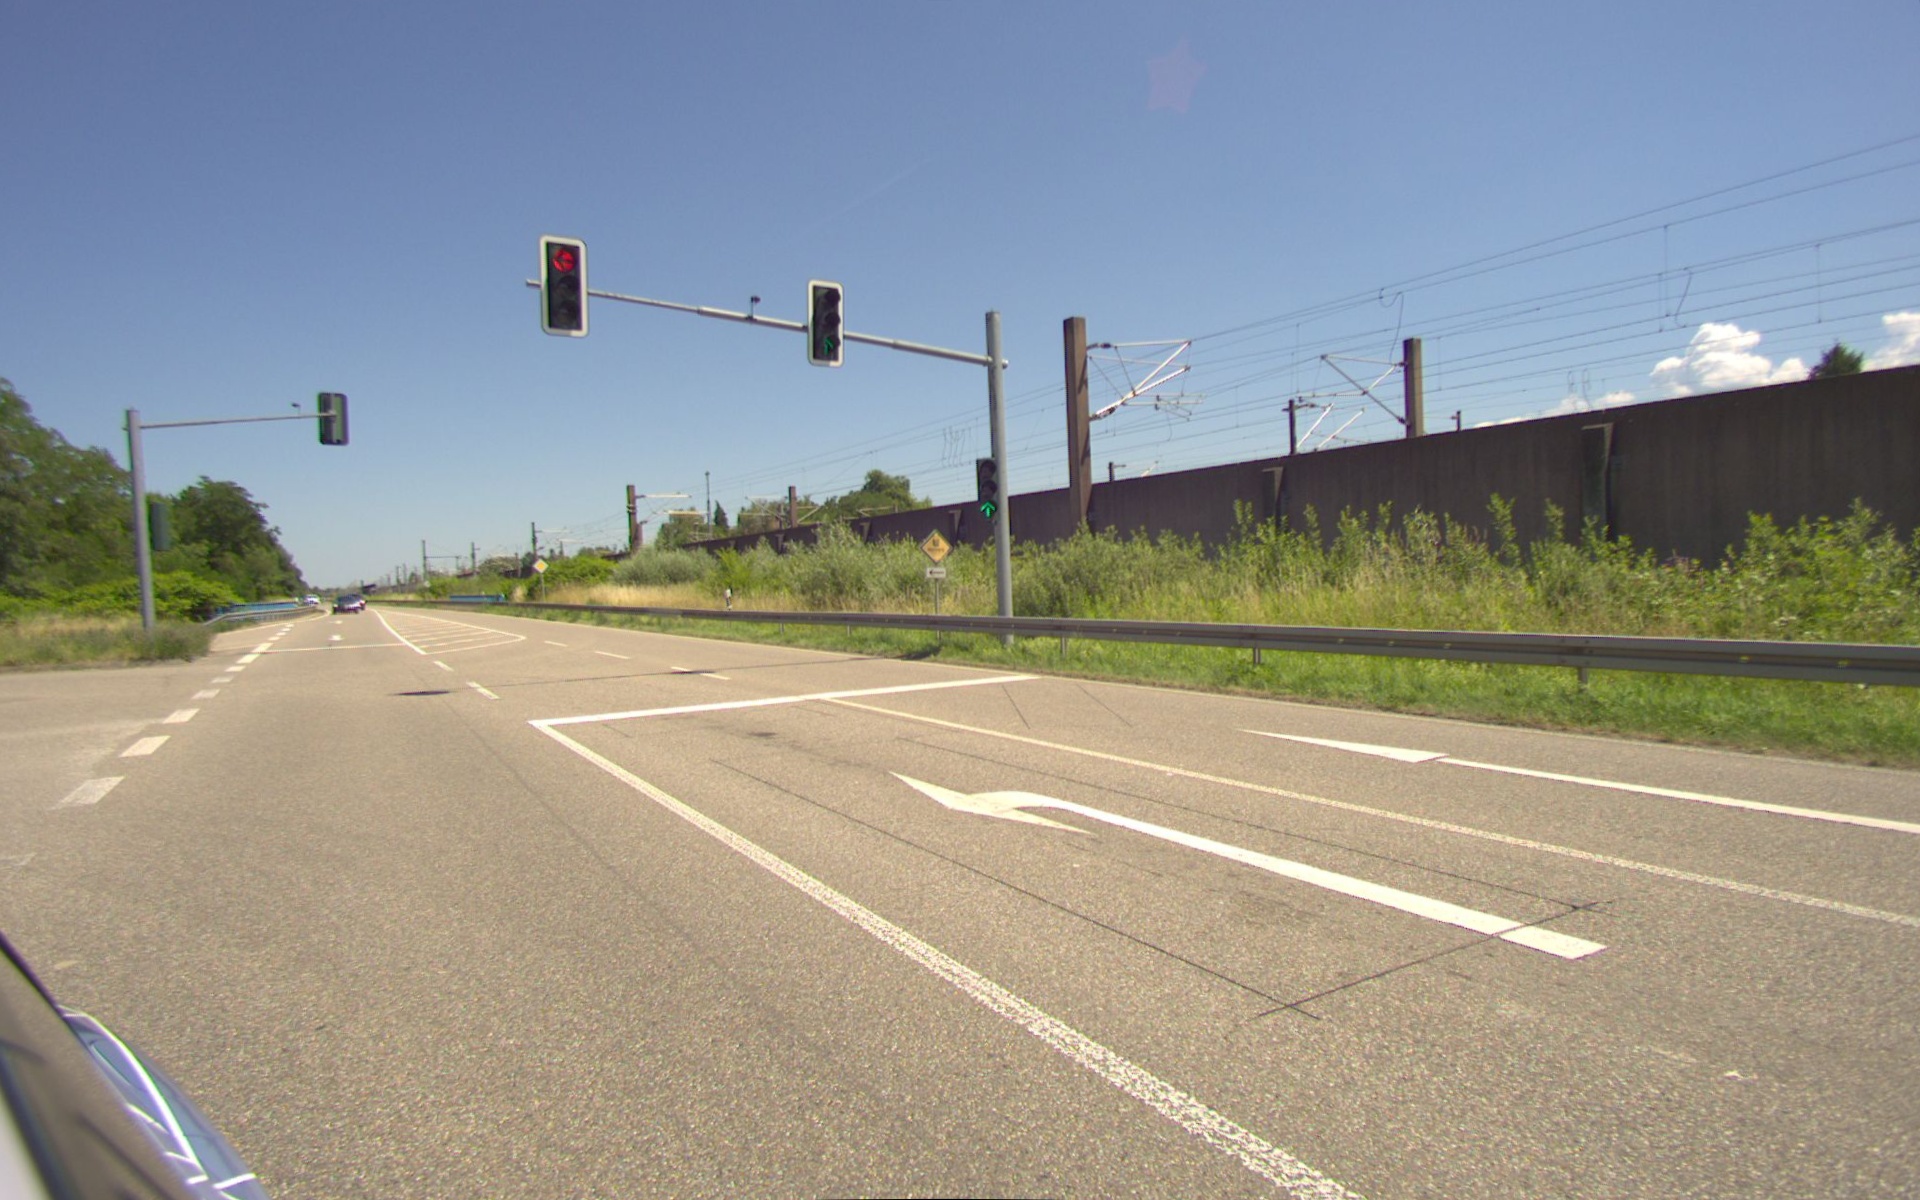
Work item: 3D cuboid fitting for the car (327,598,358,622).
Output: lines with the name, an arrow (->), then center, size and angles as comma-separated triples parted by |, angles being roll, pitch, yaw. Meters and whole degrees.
car -> -49.386, 0.790, 80.997 | 1.966, 1.740, 4.012 | -3, 2, -30

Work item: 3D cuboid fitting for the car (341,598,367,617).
car -> -59.164, 0.722, 98.837 | 1.966, 1.740, 4.012 | -3, 2, -30
